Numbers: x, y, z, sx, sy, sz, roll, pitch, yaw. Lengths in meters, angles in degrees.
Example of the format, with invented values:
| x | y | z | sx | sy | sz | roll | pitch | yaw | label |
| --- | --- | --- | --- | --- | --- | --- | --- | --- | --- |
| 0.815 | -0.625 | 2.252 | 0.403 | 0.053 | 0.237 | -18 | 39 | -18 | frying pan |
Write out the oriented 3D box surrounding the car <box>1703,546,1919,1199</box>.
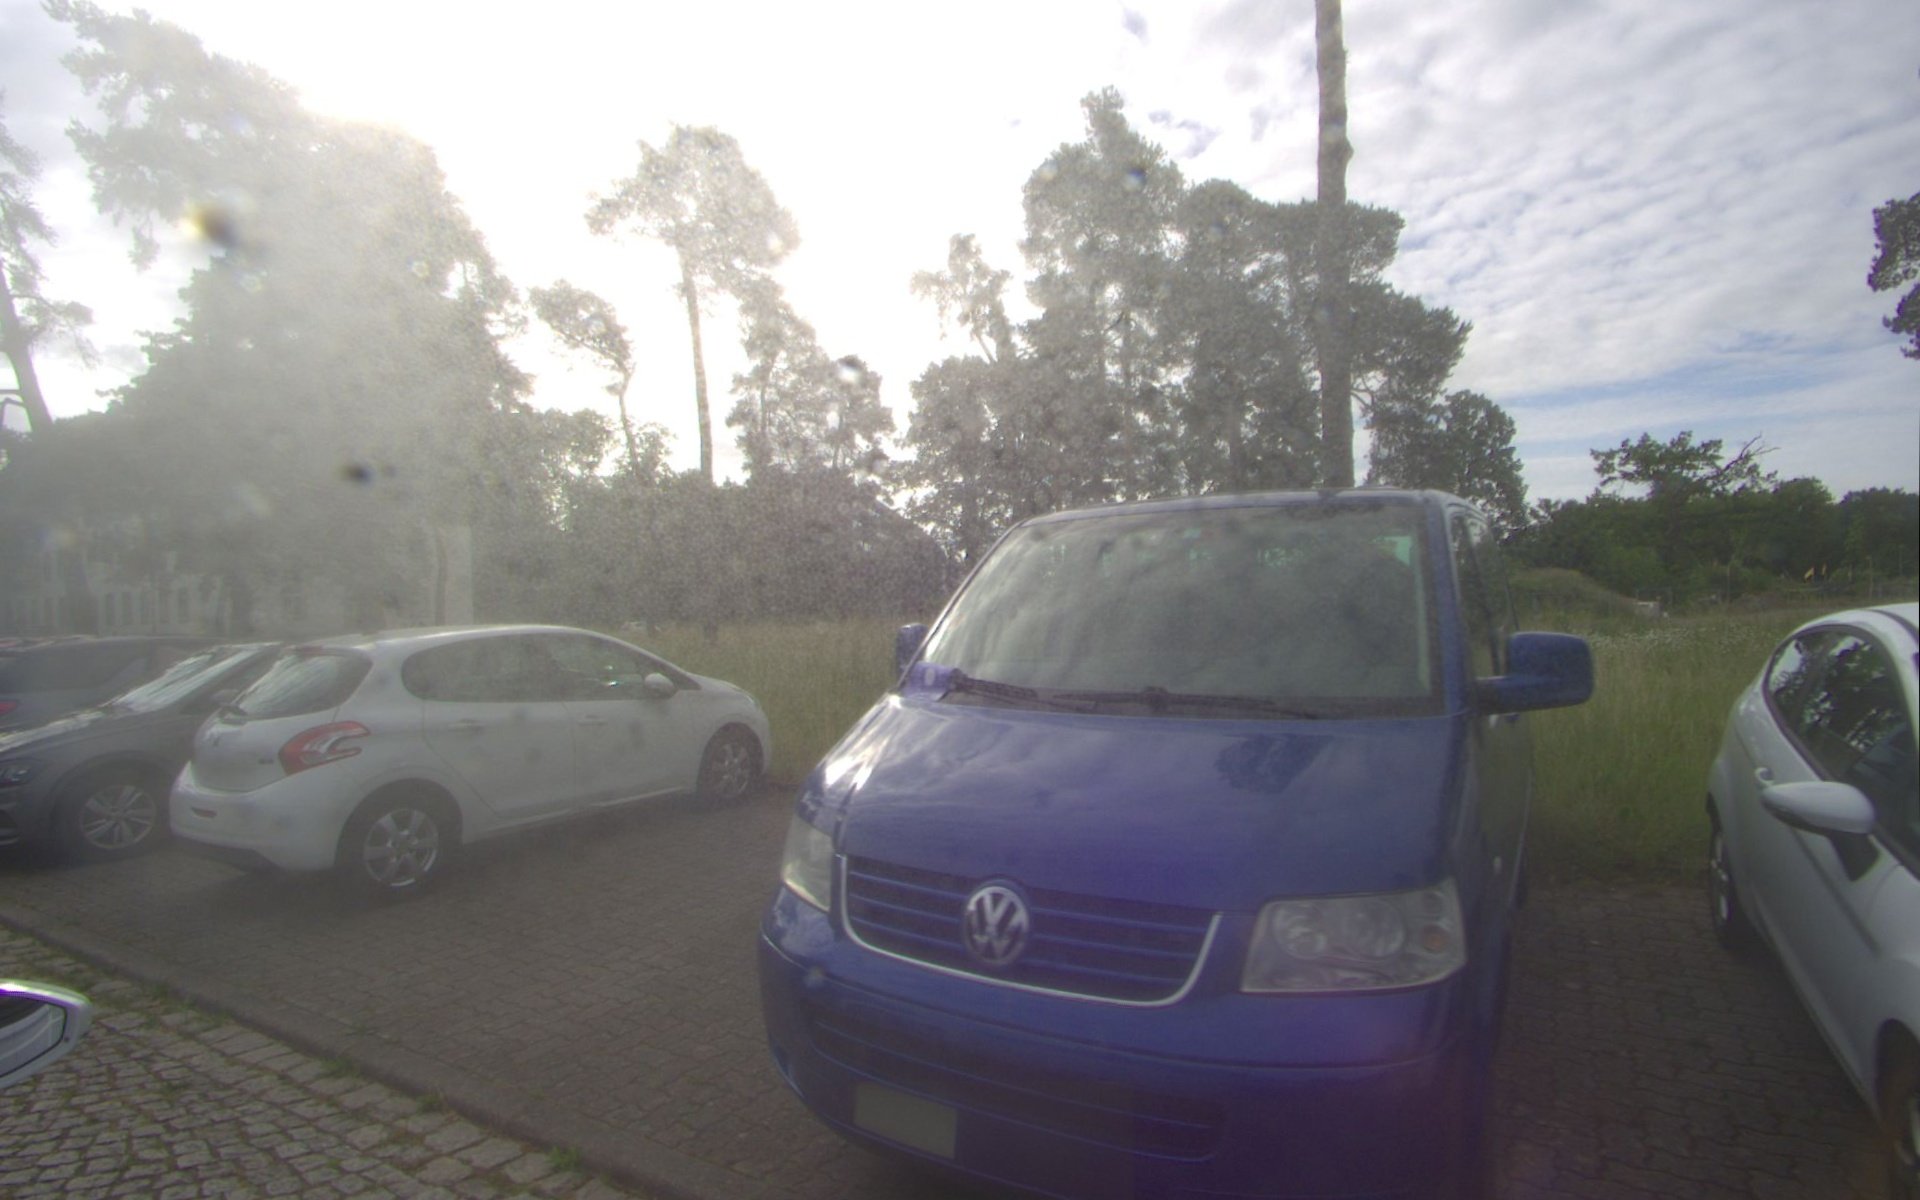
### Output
| x | y | z | sx | sy | sz | roll | pitch | yaw | label |
| --- | --- | --- | --- | --- | --- | --- | --- | --- | --- |
| 3.285 | 0.638 | 2.535 | 1.814 | 1.492 | 3.853 | -1 | 3 | 30 | car |

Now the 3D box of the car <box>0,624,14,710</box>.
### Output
| x | y | z | sx | sy | sz | roll | pitch | yaw | label |
| --- | --- | --- | --- | --- | --- | --- | --- | --- | --- |
| -18.436 | 1.241 | 16.441 | 1.619 | 1.497 | 3.916 | -1 | 1 | 33 | car |

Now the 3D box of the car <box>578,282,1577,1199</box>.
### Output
| x | y | z | sx | sy | sz | roll | pitch | yaw | label |
| --- | --- | --- | --- | --- | --- | --- | --- | --- | --- |
| 1.181 | 0.516 | 3.940 | 1.973 | 1.972 | 4.798 | -1 | 1 | 30 | car |

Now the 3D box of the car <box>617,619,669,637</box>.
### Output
| x | y | z | sx | sy | sz | roll | pitch | yaw | label |
| --- | --- | --- | --- | --- | --- | --- | --- | --- | --- |
| -26.506 | 2.346 | 83.809 | 1.628 | 1.439 | 3.940 | -2 | -3 | 34 | car |

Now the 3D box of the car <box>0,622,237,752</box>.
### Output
| x | y | z | sx | sy | sz | roll | pitch | yaw | label |
| --- | --- | --- | --- | --- | --- | --- | --- | --- | --- |
| -12.114 | 1.110 | 12.791 | 1.844 | 1.436 | 4.253 | -1 | 1 | 31 | car |

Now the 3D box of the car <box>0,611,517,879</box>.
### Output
| x | y | z | sx | sy | sz | roll | pitch | yaw | label |
| --- | --- | --- | --- | --- | --- | --- | --- | --- | --- |
| -5.803 | 0.919 | 8.026 | 1.731 | 1.492 | 3.858 | -1 | 1 | 27 | car |

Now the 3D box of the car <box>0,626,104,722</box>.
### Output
| x | y | z | sx | sy | sz | roll | pitch | yaw | label |
| --- | --- | --- | --- | --- | --- | --- | --- | --- | --- |
| -16.342 | 1.240 | 15.234 | 1.843 | 1.436 | 4.673 | -1 | 1 | 29 | car |

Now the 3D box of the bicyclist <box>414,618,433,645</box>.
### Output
| x | y | z | sx | sy | sz | roll | pitch | yaw | label |
| --- | --- | --- | --- | --- | --- | --- | --- | --- | --- |
| -29.481 | 1.726 | 55.015 | 0.598 | 1.429 | 0.745 | -1 | 0 | 40 | bicyclist |

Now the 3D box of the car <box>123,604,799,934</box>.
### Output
| x | y | z | sx | sy | sz | roll | pitch | yaw | label |
| --- | --- | --- | --- | --- | --- | --- | --- | --- | --- |
| -3.086 | 0.854 | 6.992 | 1.733 | 1.492 | 3.852 | -1 | 1 | 32 | car |

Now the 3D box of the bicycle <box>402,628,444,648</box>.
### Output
| x | y | z | sx | sy | sz | roll | pitch | yaw | label |
| --- | --- | --- | --- | --- | --- | --- | --- | --- | --- |
| -29.472 | 2.096 | 55.022 | 0.598 | 1.037 | 1.946 | -1 | 0 | 40 | bicycle |

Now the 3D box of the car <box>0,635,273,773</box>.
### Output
| x | y | z | sx | sy | sz | roll | pitch | yaw | label |
| --- | --- | --- | --- | --- | --- | --- | --- | --- | --- |
| -10.217 | 1.136 | 11.141 | 1.732 | 1.253 | 3.855 | -1 | 1 | 30 | car |

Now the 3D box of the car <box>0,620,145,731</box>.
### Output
| x | y | z | sx | sy | sz | roll | pitch | yaw | label |
| --- | --- | --- | --- | --- | --- | --- | --- | --- | --- |
| -14.206 | 1.111 | 13.651 | 1.839 | 1.436 | 4.422 | -1 | 1 | 22 | car |

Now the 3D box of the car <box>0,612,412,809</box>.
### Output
| x | y | z | sx | sy | sz | roll | pitch | yaw | label |
| --- | --- | --- | --- | --- | --- | --- | --- | --- | --- |
| -7.898 | 0.954 | 10.031 | 1.732 | 1.492 | 3.855 | -1 | 1 | 30 | car |
